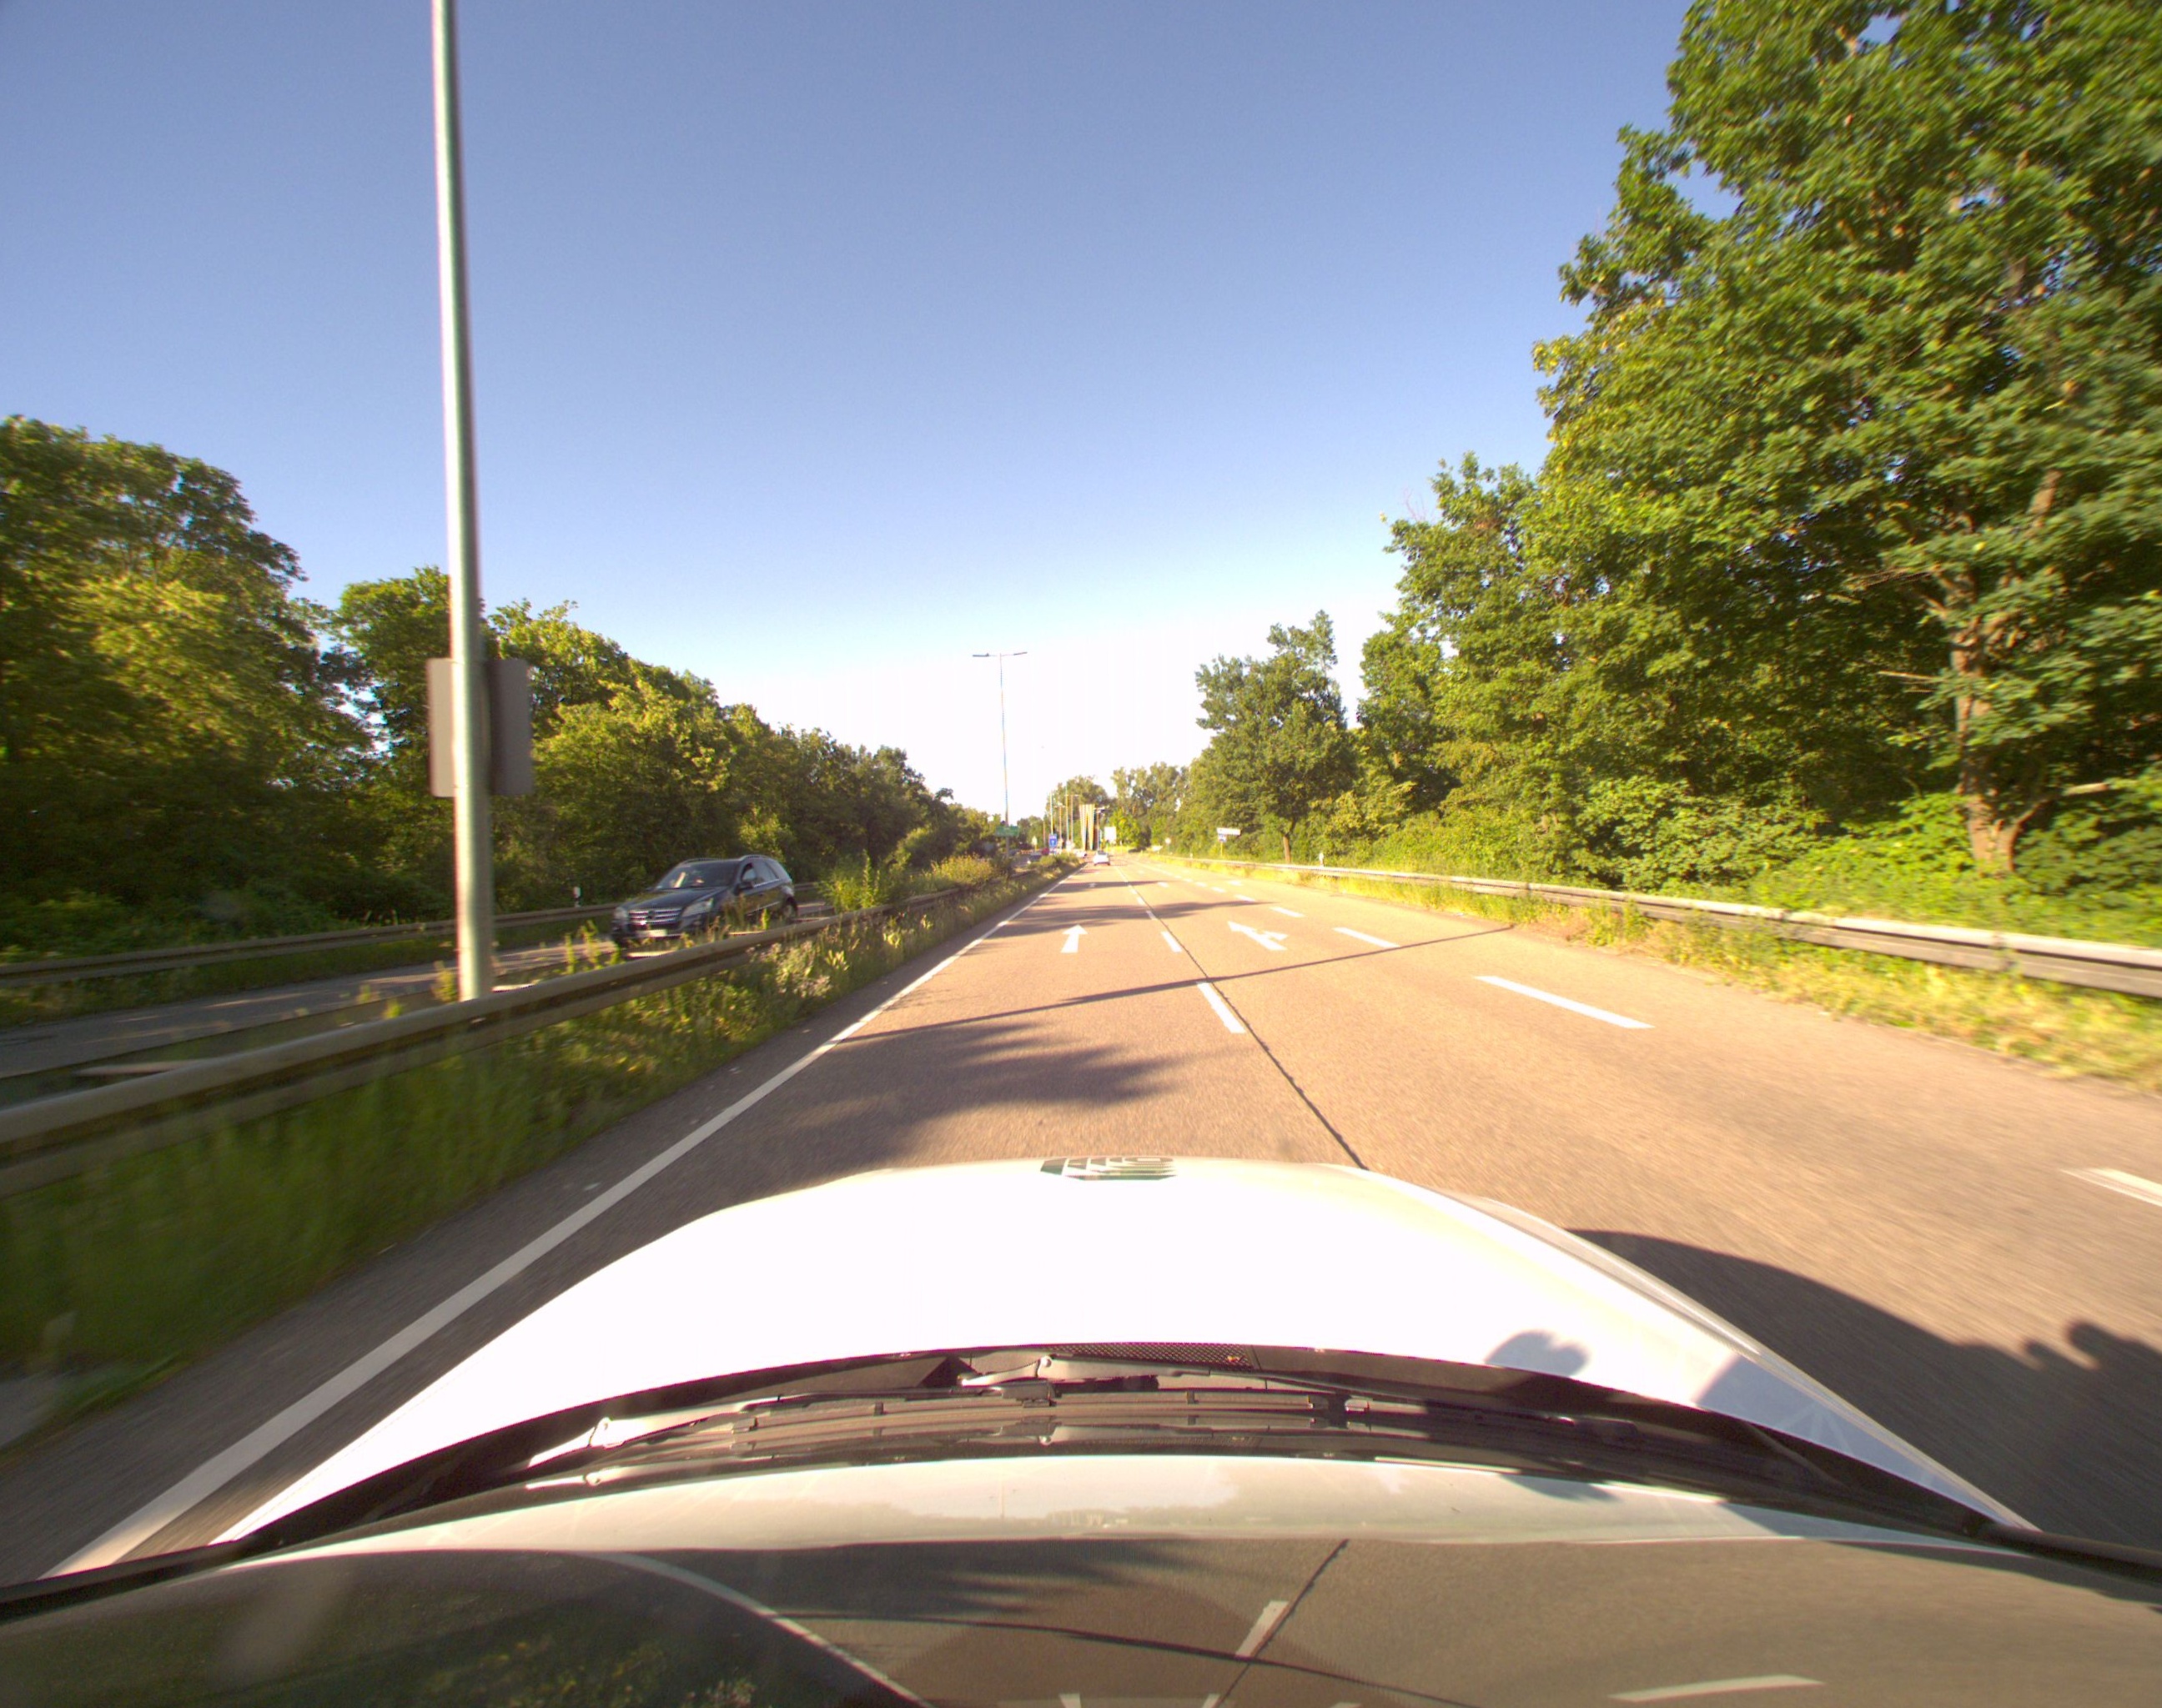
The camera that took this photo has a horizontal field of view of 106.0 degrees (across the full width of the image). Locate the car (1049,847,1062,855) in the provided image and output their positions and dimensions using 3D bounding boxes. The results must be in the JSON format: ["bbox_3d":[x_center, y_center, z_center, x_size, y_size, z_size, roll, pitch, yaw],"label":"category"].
[{"bbox_3d":[-5.620,-0.602,180.536,1.971,1.698,3.982,-3,1,-13],"label":"car"}]

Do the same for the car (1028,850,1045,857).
[{"bbox_3d":[-10.462,-0.080,191.448,2.280,1.508,3.962,-2,0,-30],"label":"car"}]

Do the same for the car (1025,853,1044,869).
[{"bbox_3d":[-5.404,0.766,95.142,1.779,1.710,4.548,-2,0,1],"label":"car"}]

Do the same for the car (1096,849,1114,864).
[{"bbox_3d":[2.809,0.279,96.918,1.986,1.640,4.129,-2,1,1],"label":"car"}]

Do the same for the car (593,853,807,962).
[{"bbox_3d":[-7.222,0.902,16.107,1.834,1.757,4.713,-2,0,2],"label":"car"}]

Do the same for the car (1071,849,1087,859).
[{"bbox_3d":[-0.414,0.006,160.770,1.998,1.879,4.226,-3,1,-16],"label":"car"}]
